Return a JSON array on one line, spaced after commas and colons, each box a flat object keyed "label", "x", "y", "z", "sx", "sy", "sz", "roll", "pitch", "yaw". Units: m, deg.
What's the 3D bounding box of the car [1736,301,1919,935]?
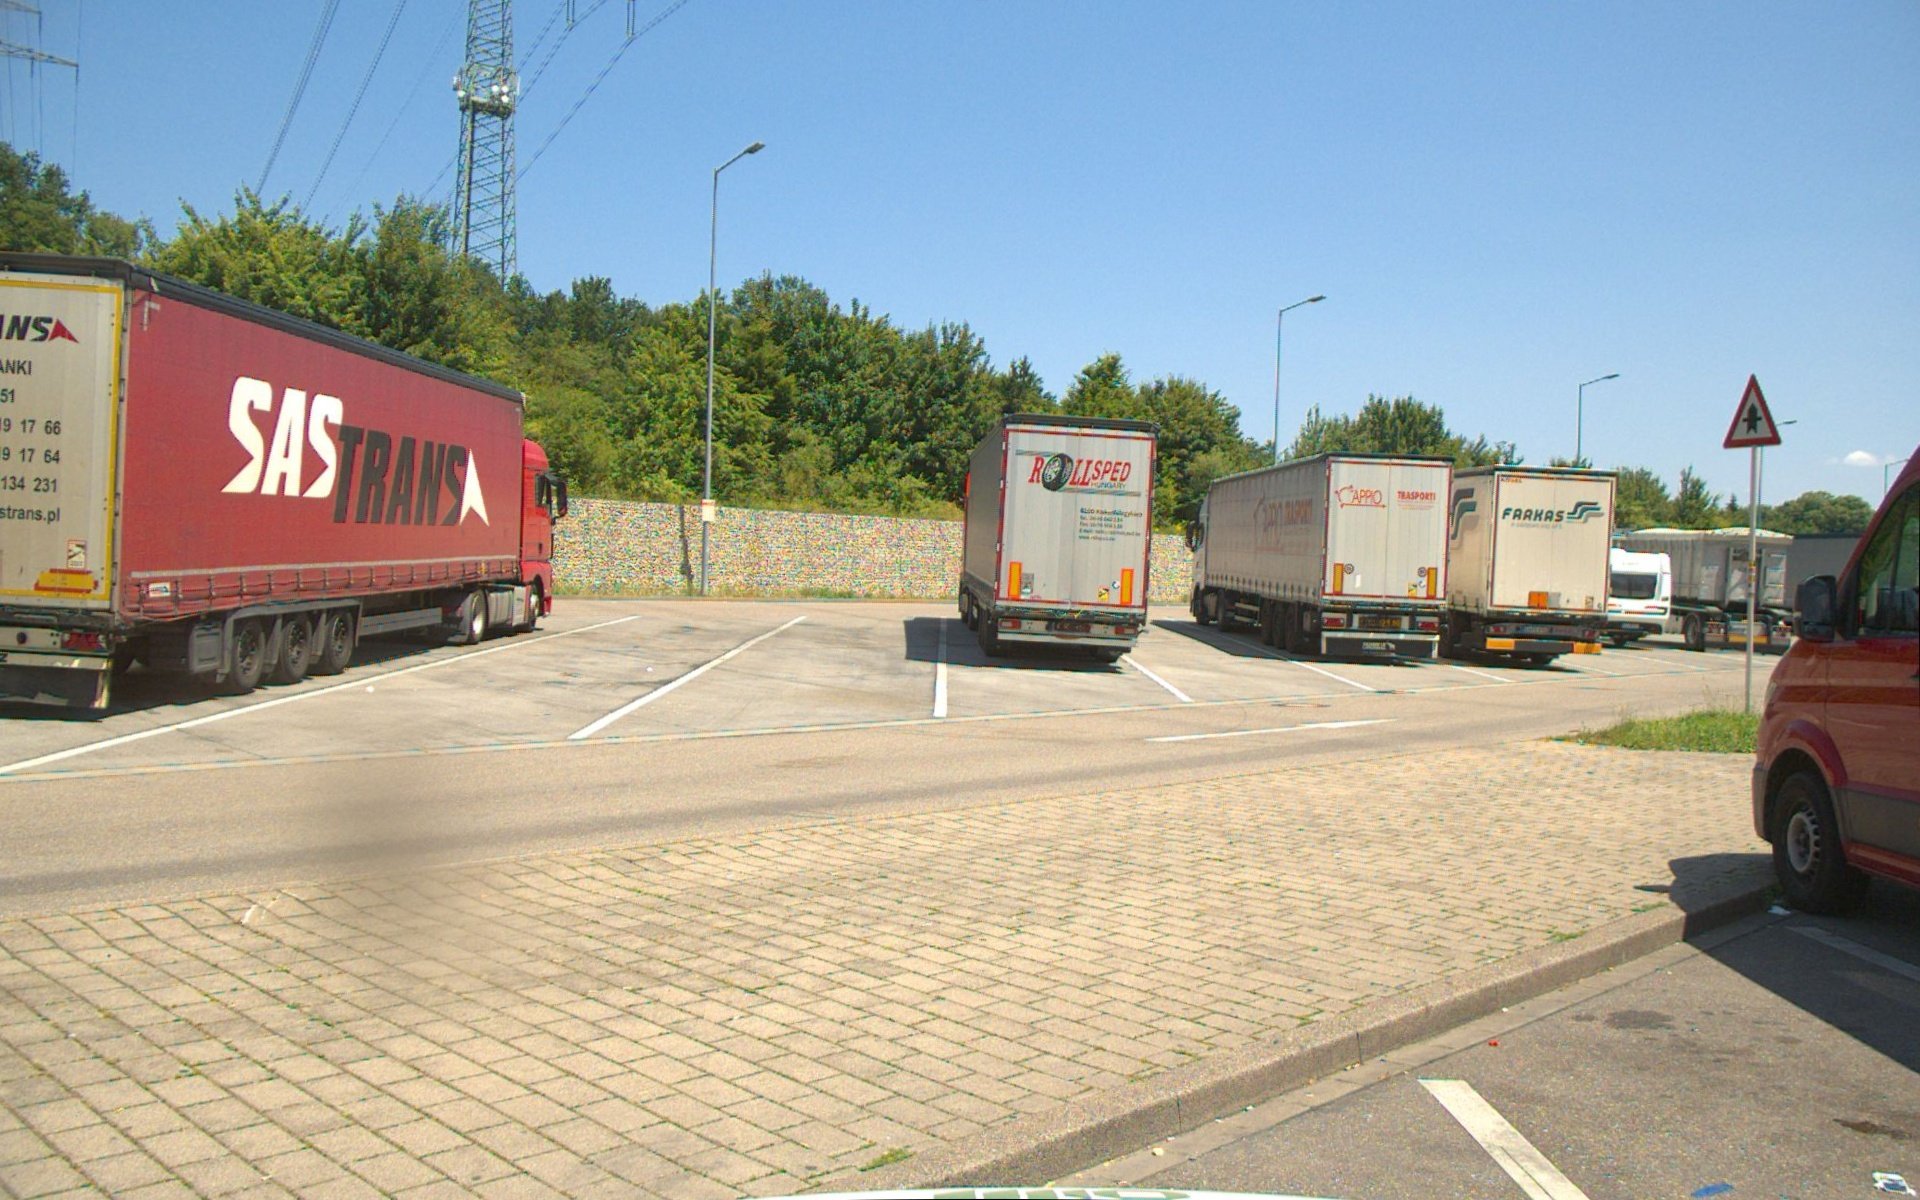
[{"label": "car", "x": 4.970, "y": 0.109, "z": 5.564, "sx": 1.952, "sy": 2.679, "sz": 6.385, "roll": 1, "pitch": 1, "yaw": 3}]

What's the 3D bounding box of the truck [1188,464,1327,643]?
[{"label": "truck", "x": 8.025, "y": -1.245, "z": 45.316, "sx": 2.607, "sy": 4.530, "sz": 5.863, "roll": 1, "pitch": 1, "yaw": -1}]

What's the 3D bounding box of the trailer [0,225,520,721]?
[{"label": "trailer", "x": -8.635, "y": -1.236, "z": 20.965, "sx": 2.743, "sy": 4.293, "sz": 13.200, "roll": 1, "pitch": 1, "yaw": -1}]

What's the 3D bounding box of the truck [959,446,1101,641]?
[{"label": "truck", "x": 1.465, "y": -1.238, "z": 37.730, "sx": 2.813, "sy": 4.050, "sz": 6.028, "roll": 1, "pitch": 1, "yaw": -1}]

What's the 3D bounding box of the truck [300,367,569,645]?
[{"label": "truck", "x": -8.722, "y": -1.491, "z": 28.220, "sx": 2.749, "sy": 4.205, "sz": 5.893, "roll": 1, "pitch": 1, "yaw": -1}]

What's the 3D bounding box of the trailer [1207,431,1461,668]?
[{"label": "trailer", "x": 8.177, "y": -1.095, "z": 38.331, "sx": 2.627, "sy": 4.530, "sz": 12.826, "roll": 1, "pitch": 1, "yaw": -1}]

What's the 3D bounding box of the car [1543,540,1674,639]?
[{"label": "car", "x": 18.237, "y": -0.266, "z": 46.719, "sx": 2.072, "sy": 2.645, "sz": 3.999, "roll": 1, "pitch": 0, "yaw": -1}]

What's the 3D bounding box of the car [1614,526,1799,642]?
[{"label": "car", "x": 21.702, "y": -0.494, "z": 48.477, "sx": 2.448, "sy": 3.128, "sz": 6.350, "roll": 1, "pitch": 1, "yaw": -1}]

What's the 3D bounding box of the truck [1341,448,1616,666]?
[{"label": "truck", "x": 11.717, "y": -0.831, "z": 38.959, "sx": 2.534, "sy": 4.299, "sz": 11.967, "roll": 1, "pitch": 0, "yaw": -1}]

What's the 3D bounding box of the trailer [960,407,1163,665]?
[{"label": "trailer", "x": 1.621, "y": -1.124, "z": 32.072, "sx": 2.839, "sy": 4.083, "sz": 11.313, "roll": 1, "pitch": 1, "yaw": -2}]
